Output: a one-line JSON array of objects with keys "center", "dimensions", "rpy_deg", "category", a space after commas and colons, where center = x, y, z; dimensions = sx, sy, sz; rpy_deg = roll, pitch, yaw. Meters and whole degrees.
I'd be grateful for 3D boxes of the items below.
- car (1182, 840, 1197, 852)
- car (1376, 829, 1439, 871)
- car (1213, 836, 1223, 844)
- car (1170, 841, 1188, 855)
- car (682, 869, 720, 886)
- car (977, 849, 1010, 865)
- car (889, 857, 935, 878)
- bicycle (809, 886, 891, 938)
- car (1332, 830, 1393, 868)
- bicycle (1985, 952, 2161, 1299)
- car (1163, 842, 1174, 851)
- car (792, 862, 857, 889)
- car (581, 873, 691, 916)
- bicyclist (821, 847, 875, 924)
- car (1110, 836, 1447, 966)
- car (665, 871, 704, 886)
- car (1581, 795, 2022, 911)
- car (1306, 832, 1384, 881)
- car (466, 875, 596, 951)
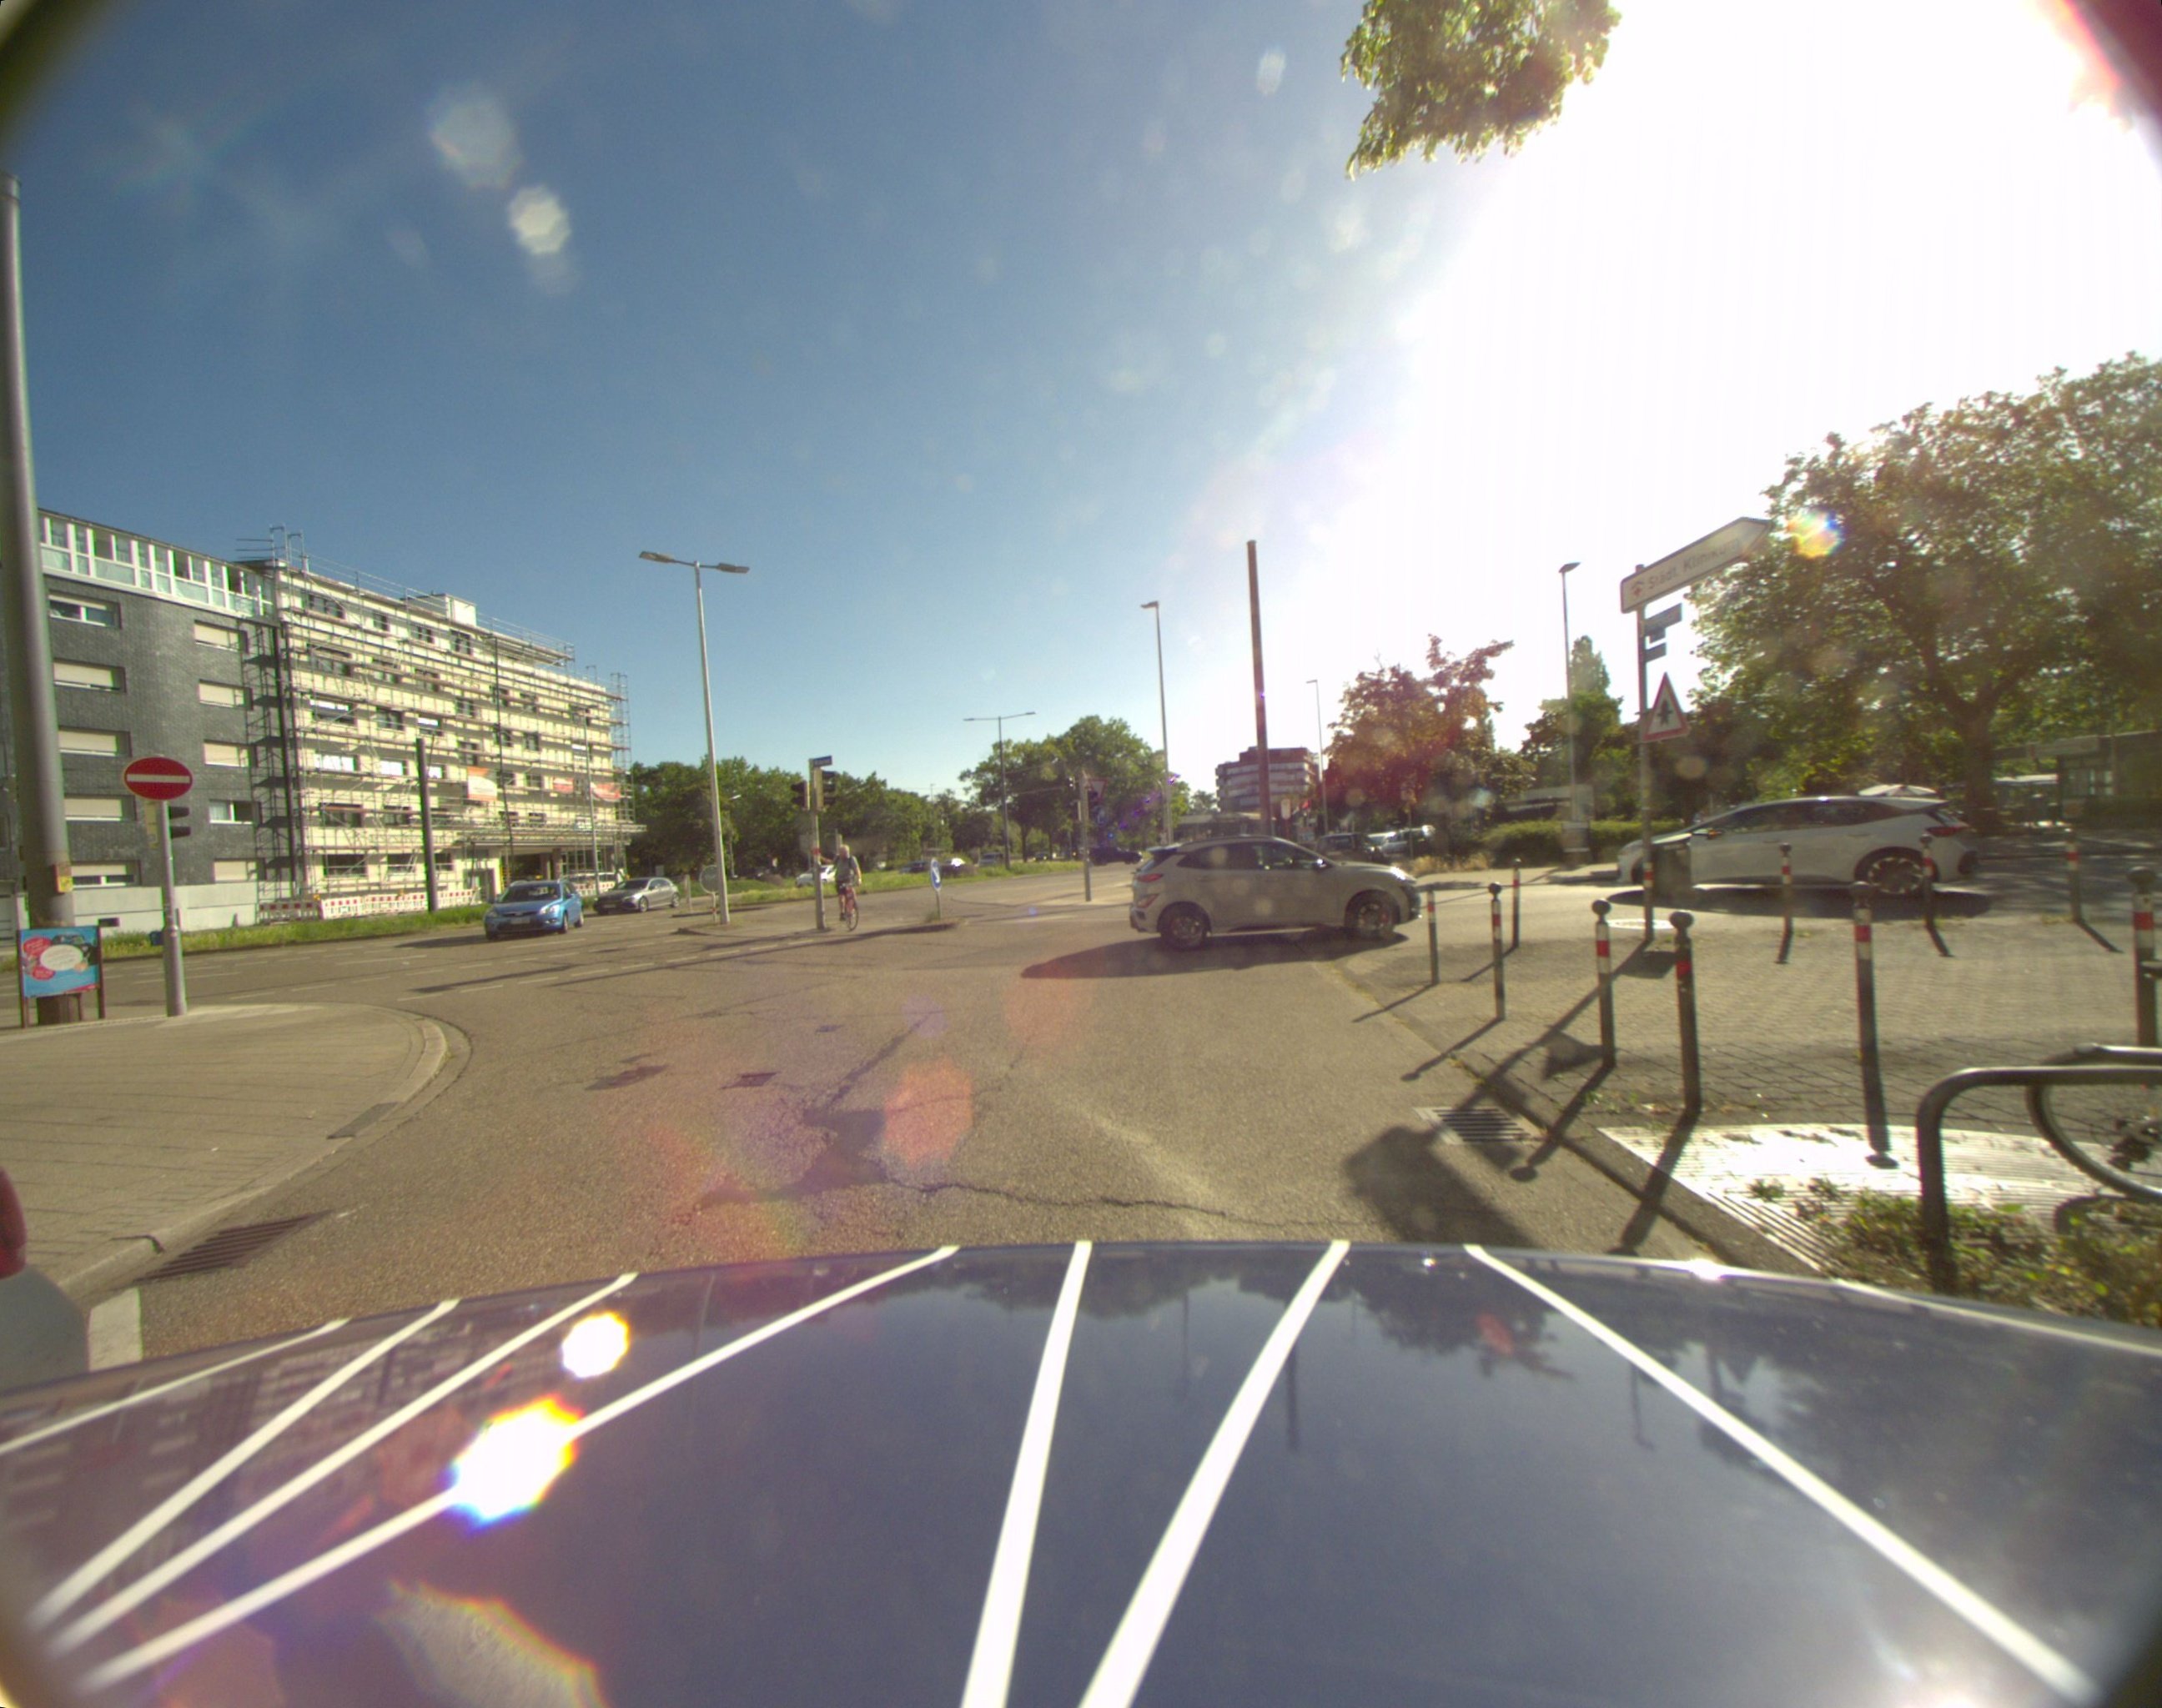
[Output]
[{"center": [15.299, -1.075, 106.705], "dimensions": [1.997, 1.543, 4.487], "rpy_deg": [-3, 0, 8], "category": "car"}, {"center": [13.875, -0.213, 32.200], "dimensions": [1.795, 1.571, 4.007], "rpy_deg": [-2, 1, 32], "category": "car"}, {"center": [34.876, -3.492, 193.521], "dimensions": [1.997, 2.002, 4.002], "rpy_deg": [-3, 1, 7], "category": "car"}, {"center": [11.568, -0.742, 89.611], "dimensions": [1.997, 1.543, 4.487], "rpy_deg": [-3, 0, 8], "category": "car"}, {"center": [-40.613, 2.454, 81.314], "dimensions": [1.819, 1.574, 3.687], "rpy_deg": [-3, 1, 9], "category": "car"}, {"center": [-9.161, 0.272, 80.087], "dimensions": [1.870, 1.447, 4.489], "rpy_deg": [-3, 0, 14], "category": "car"}, {"center": [-14.081, 1.116, 63.678], "dimensions": [1.870, 1.447, 4.489], "rpy_deg": [-3, 0, 14], "category": "car"}, {"center": [-4.902, 1.197, 16.082], "dimensions": [0.831, 0.981, 1.941], "rpy_deg": [-4, 1, -43], "category": "bicycle"}, {"center": [12.675, -0.244, 34.088], "dimensions": [1.679, 1.499, 3.602], "rpy_deg": [-3, 1, 34], "category": "car"}, {"center": [3.740, 0.929, 2.151], "dimensions": [0.353, 1.066, 1.592], "rpy_deg": [-3, 1, -4], "category": "bicycle"}, {"center": [18.313, -1.567, 158.856], "dimensions": [1.998, 1.652, 4.485], "rpy_deg": [-3, 0, 2], "category": "car"}, {"center": [-16.868, 1.387, 50.164], "dimensions": [1.870, 1.447, 4.489], "rpy_deg": [-3, 0, 14], "category": "car"}, {"center": [-18.688, 1.651, 32.187], "dimensions": [1.872, 1.447, 4.485], "rpy_deg": [-3, 0, 2], "category": "car"}, {"center": [-4.917, 0.646, 16.027], "dimensions": [0.829, 1.555, 0.594], "rpy_deg": [-4, 1, -43], "category": "bicyclist"}, {"center": [2.726, 0.640, 11.315], "dimensions": [4.480, 1.543, 1.906], "rpy_deg": [-3, 1, 3], "category": "car"}, {"center": [-42.750, 2.667, 82.094], "dimensions": [1.819, 1.386, 3.687], "rpy_deg": [-3, 1, 9], "category": "car"}, {"center": [11.558, 0.013, 12.638], "dimensions": [1.927, 1.510, 5.025], "rpy_deg": [-4, 1, -36], "category": "car"}, {"center": [9.575, 0.053, 27.399], "dimensions": [1.680, 1.499, 3.602], "rpy_deg": [-5, 0, 34], "category": "car"}, {"center": [-15.484, 1.564, 21.677], "dimensions": [1.875, 1.765, 4.477], "rpy_deg": [-3, 1, -22], "category": "car"}]
